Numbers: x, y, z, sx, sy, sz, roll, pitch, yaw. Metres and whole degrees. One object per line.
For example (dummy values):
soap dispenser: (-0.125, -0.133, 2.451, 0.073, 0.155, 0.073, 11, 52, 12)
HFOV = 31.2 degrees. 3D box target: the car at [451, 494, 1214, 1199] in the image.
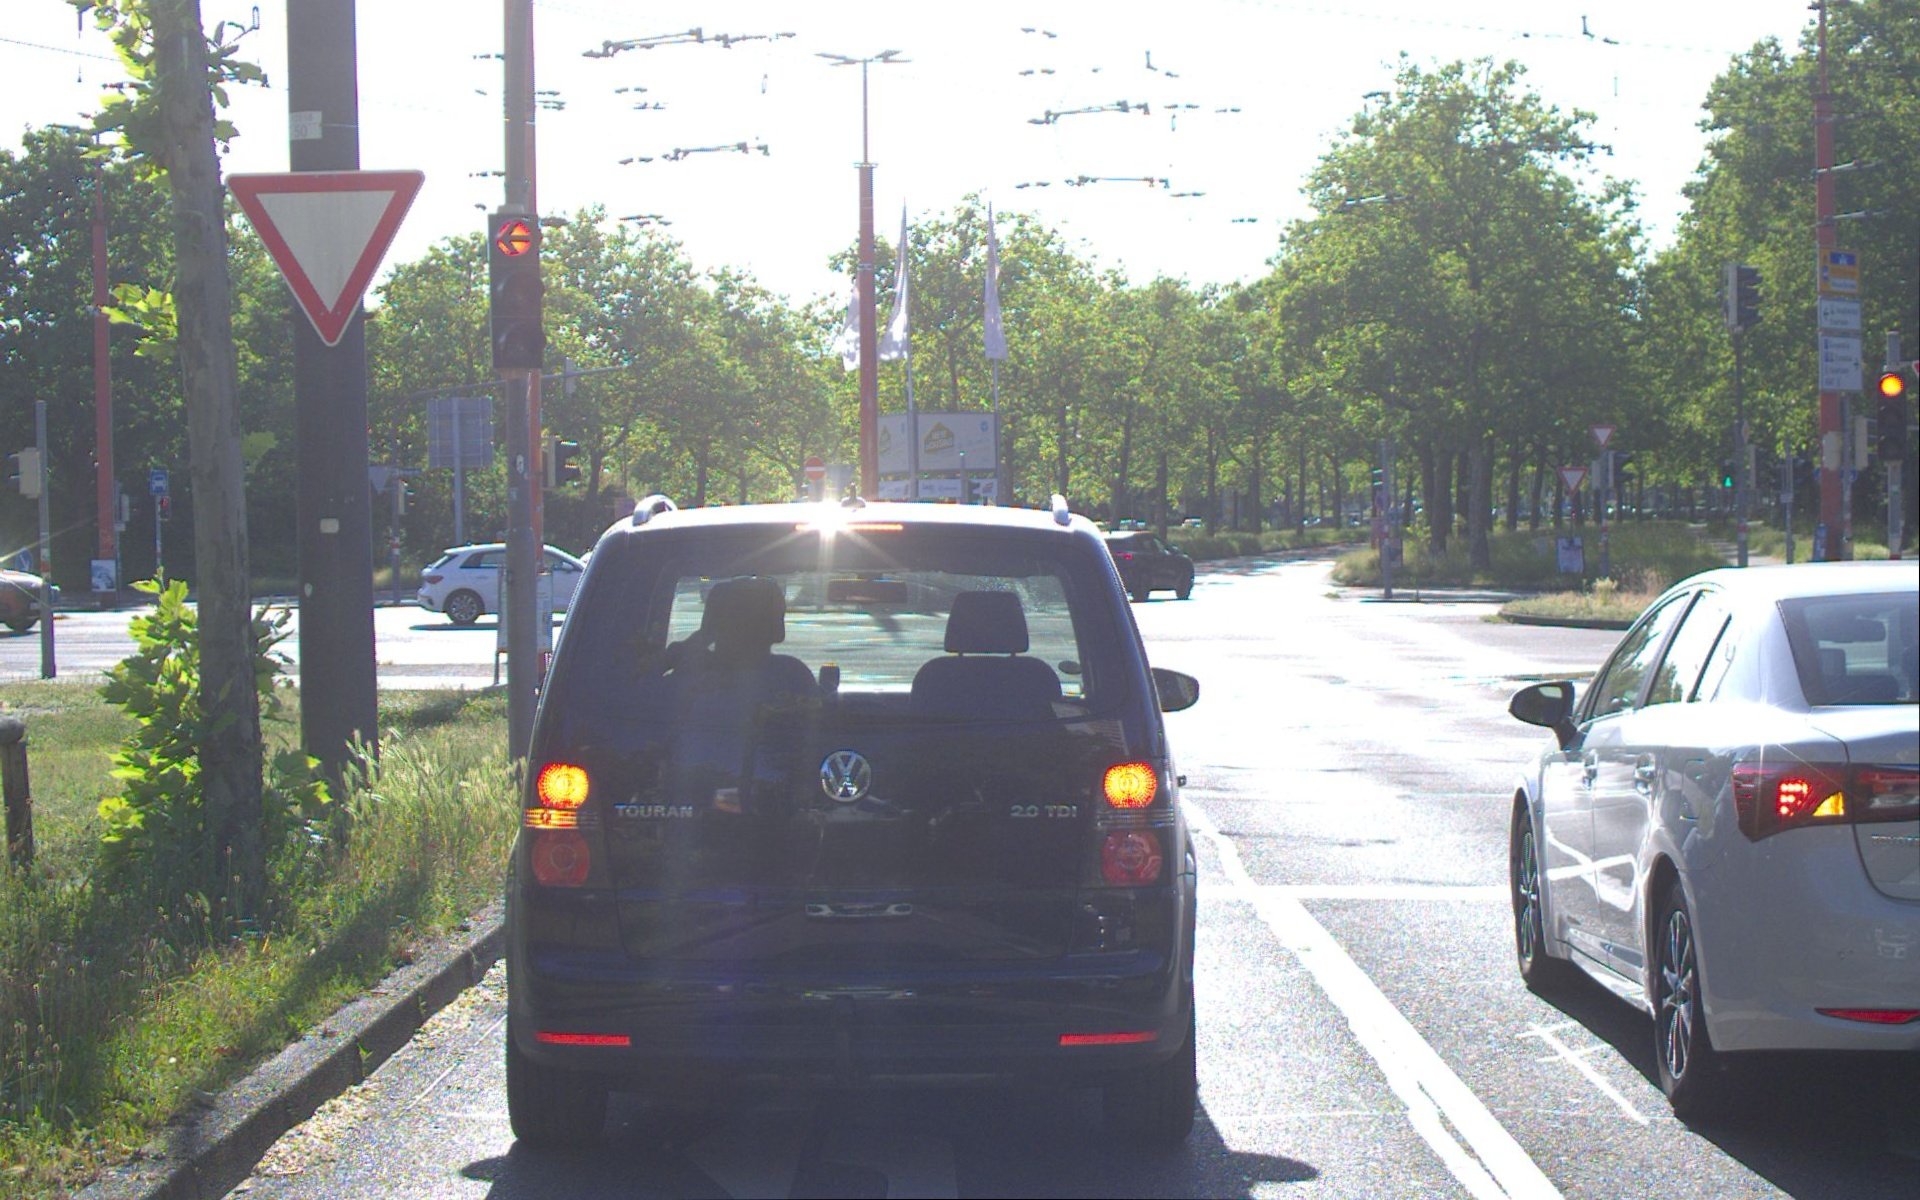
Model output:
car: (-0.313, 0.546, 9.880, 1.737, 1.635, 4.000, 0, 1, -1)

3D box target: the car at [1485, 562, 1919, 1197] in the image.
car: (2.690, 0.630, 10.081, 1.715, 1.449, 4.144, 0, 1, 1)

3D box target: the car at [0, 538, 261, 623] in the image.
car: (-14.886, -0.356, 61.292, 4.361, 1.459, 1.914, 0, 1, 8)

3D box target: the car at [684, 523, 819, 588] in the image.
car: (-5.524, -1.197, 91.567, 1.995, 1.679, 4.825, 0, 1, 17)

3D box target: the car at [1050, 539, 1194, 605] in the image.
car: (3.767, -0.663, 79.314, 1.910, 1.459, 4.217, 0, 1, 24)

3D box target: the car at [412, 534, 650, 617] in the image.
car: (-7.762, -0.461, 62.344, 4.208, 1.459, 1.915, 0, 1, -6)

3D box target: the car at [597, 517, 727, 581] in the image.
car: (-8.073, -1.402, 93.574, 1.995, 1.679, 4.825, 0, 1, 15)

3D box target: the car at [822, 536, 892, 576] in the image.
car: (-4.403, -1.917, 147.652, 1.994, 1.679, 4.826, 0, 1, 11)
